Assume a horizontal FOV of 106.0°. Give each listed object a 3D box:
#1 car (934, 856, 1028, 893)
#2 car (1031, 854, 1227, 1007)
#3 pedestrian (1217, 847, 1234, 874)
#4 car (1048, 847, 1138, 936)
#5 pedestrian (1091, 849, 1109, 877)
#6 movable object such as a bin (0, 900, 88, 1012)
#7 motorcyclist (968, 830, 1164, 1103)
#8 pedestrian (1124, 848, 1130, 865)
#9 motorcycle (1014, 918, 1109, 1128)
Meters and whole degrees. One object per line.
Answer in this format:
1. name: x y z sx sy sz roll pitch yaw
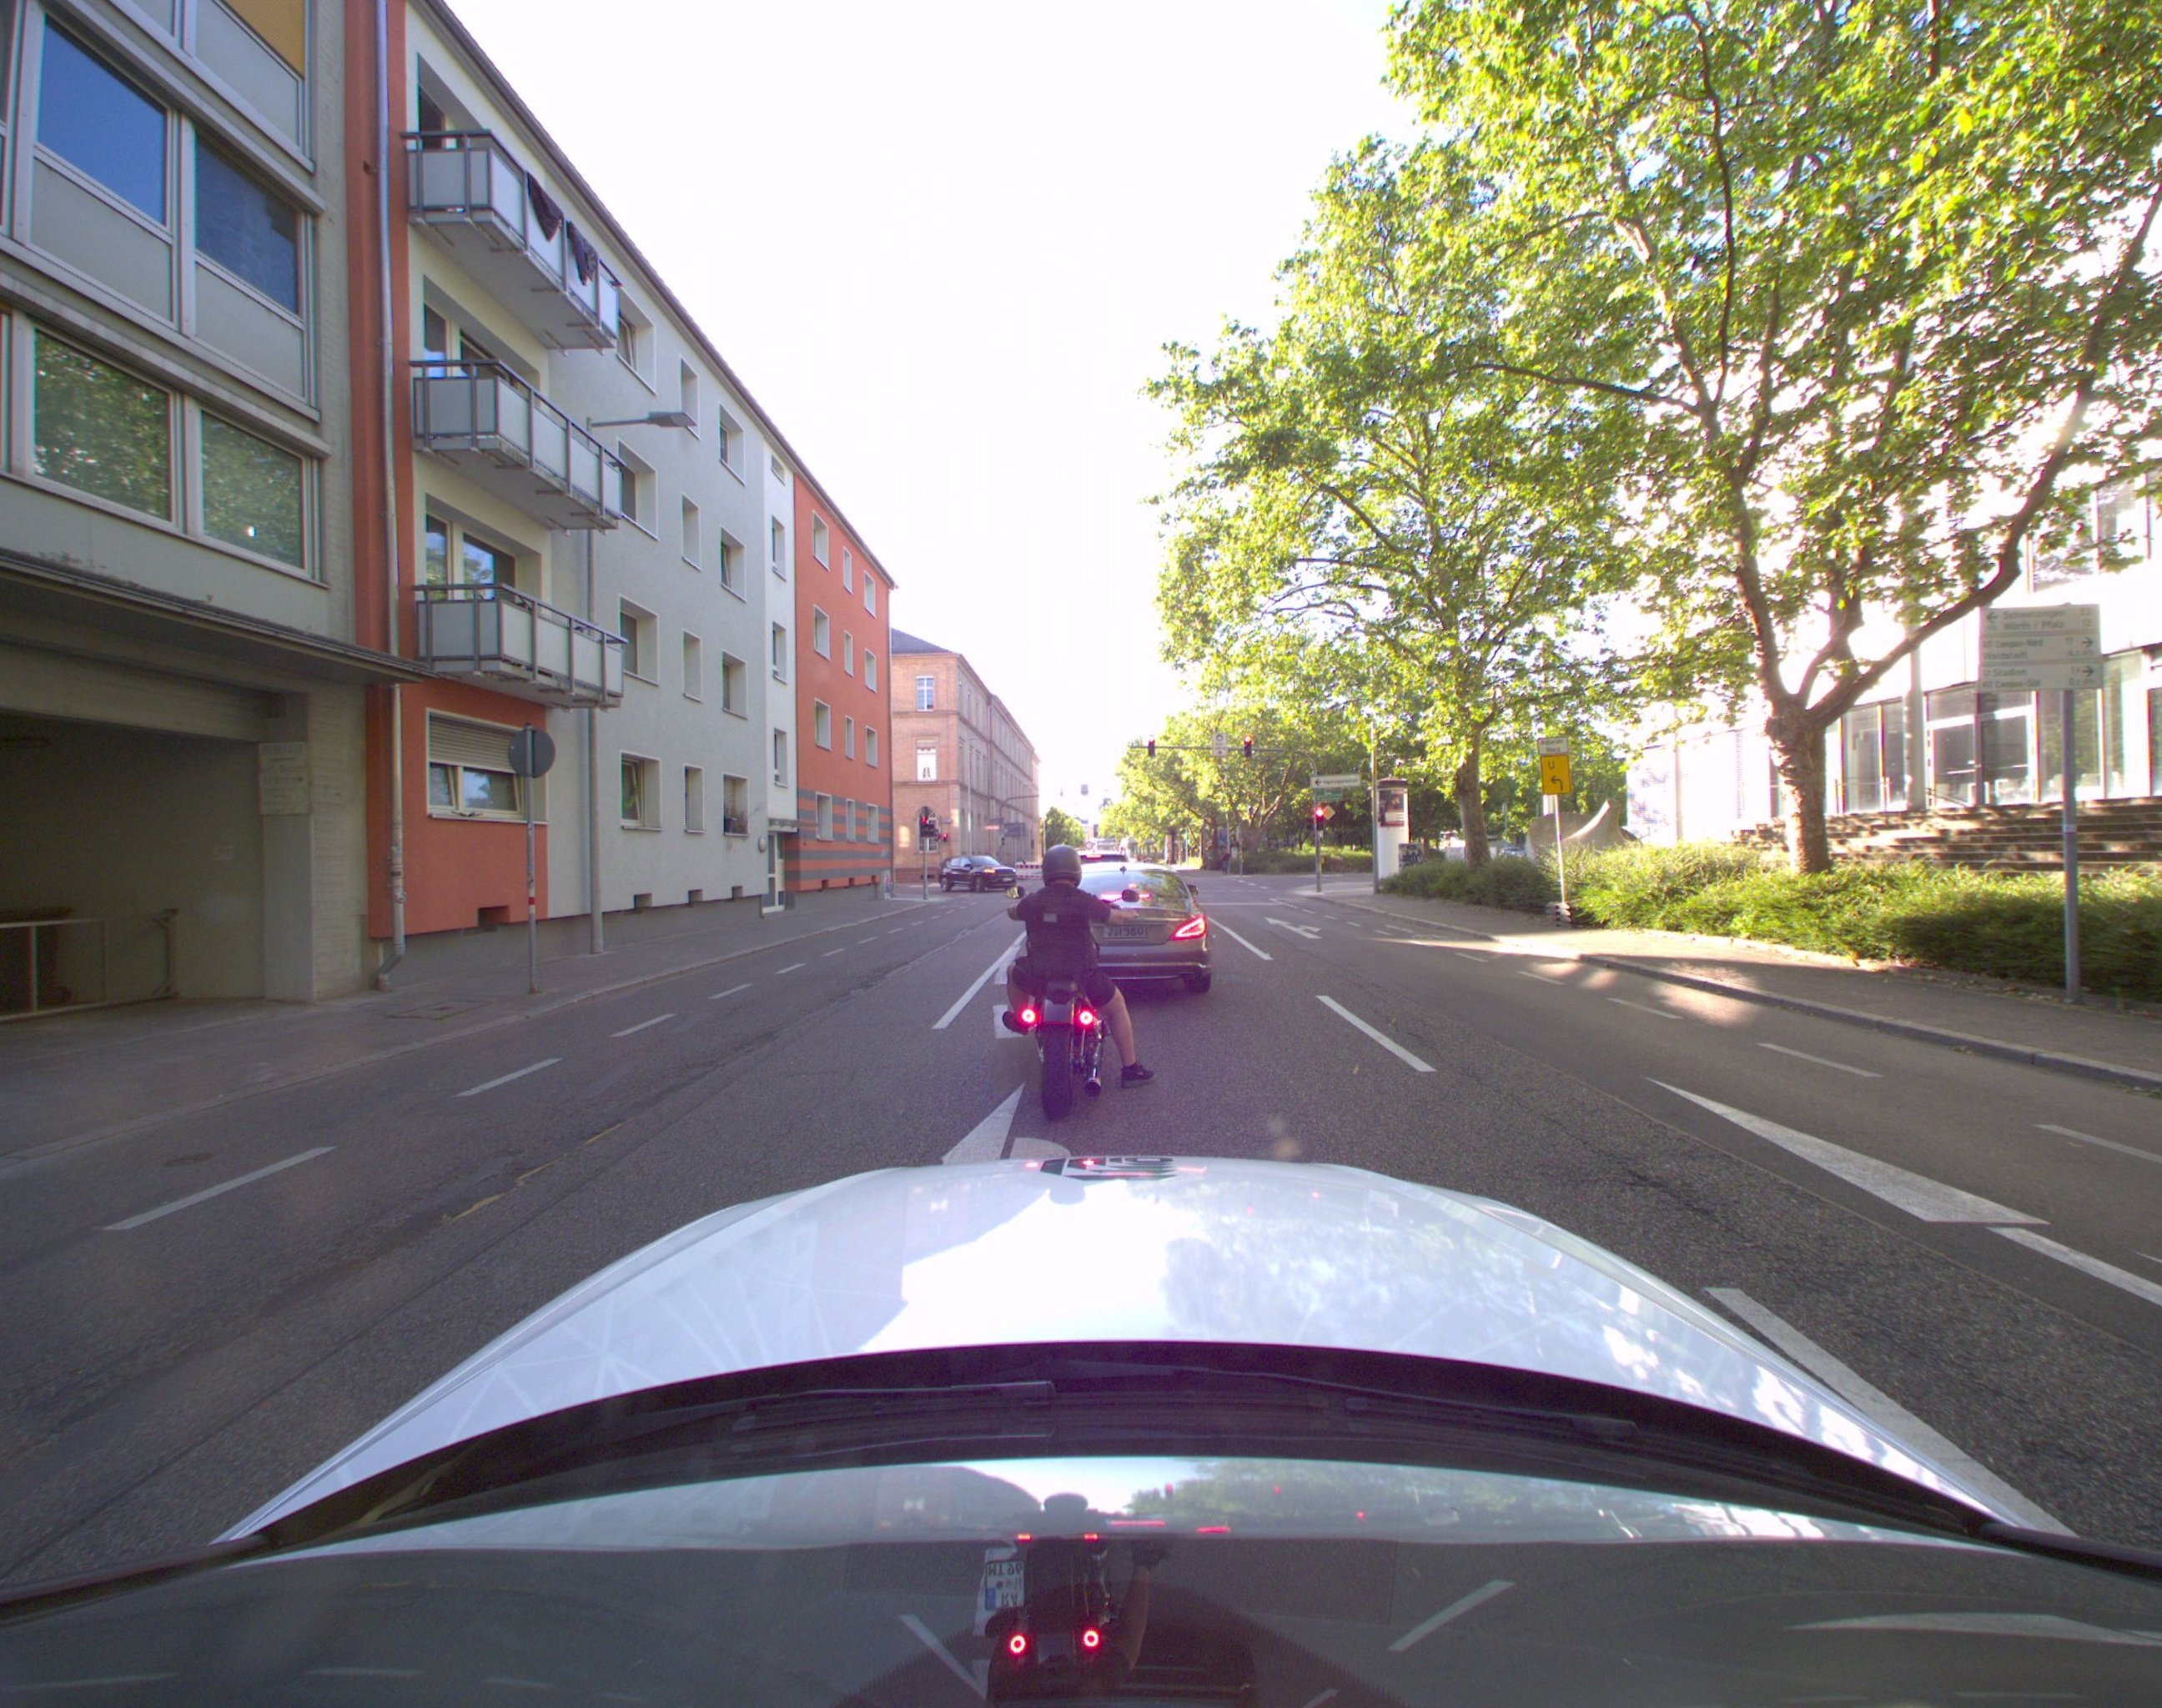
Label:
1. car: -4.563 0.914 36.734 4.330 1.570 1.867 -1 -1 43
2. car: 0.518 0.737 9.740 1.875 1.449 3.821 0 0 2
3. pedestrian: 10.138 0.462 57.166 0.753 1.910 0.918 0 -1 -26
4. car: 0.277 0.691 16.868 1.615 1.594 4.002 -1 0 2
5. pedestrian: 1.243 0.579 52.399 0.996 1.826 1.078 0 -1 8
6. movable object such as a bin: -11.256 1.059 8.644 0.626 1.100 0.659 0 -1 4
7. motorcyclist: -0.071 0.669 5.438 1.145 1.598 1.288 0 -1 1
8. pedestrian: 5.726 0.280 100.940 0.761 2.051 0.712 0 -1 1
9. motorcycle: -0.076 1.002 5.452 0.511 1.002 2.014 0 -1 2
